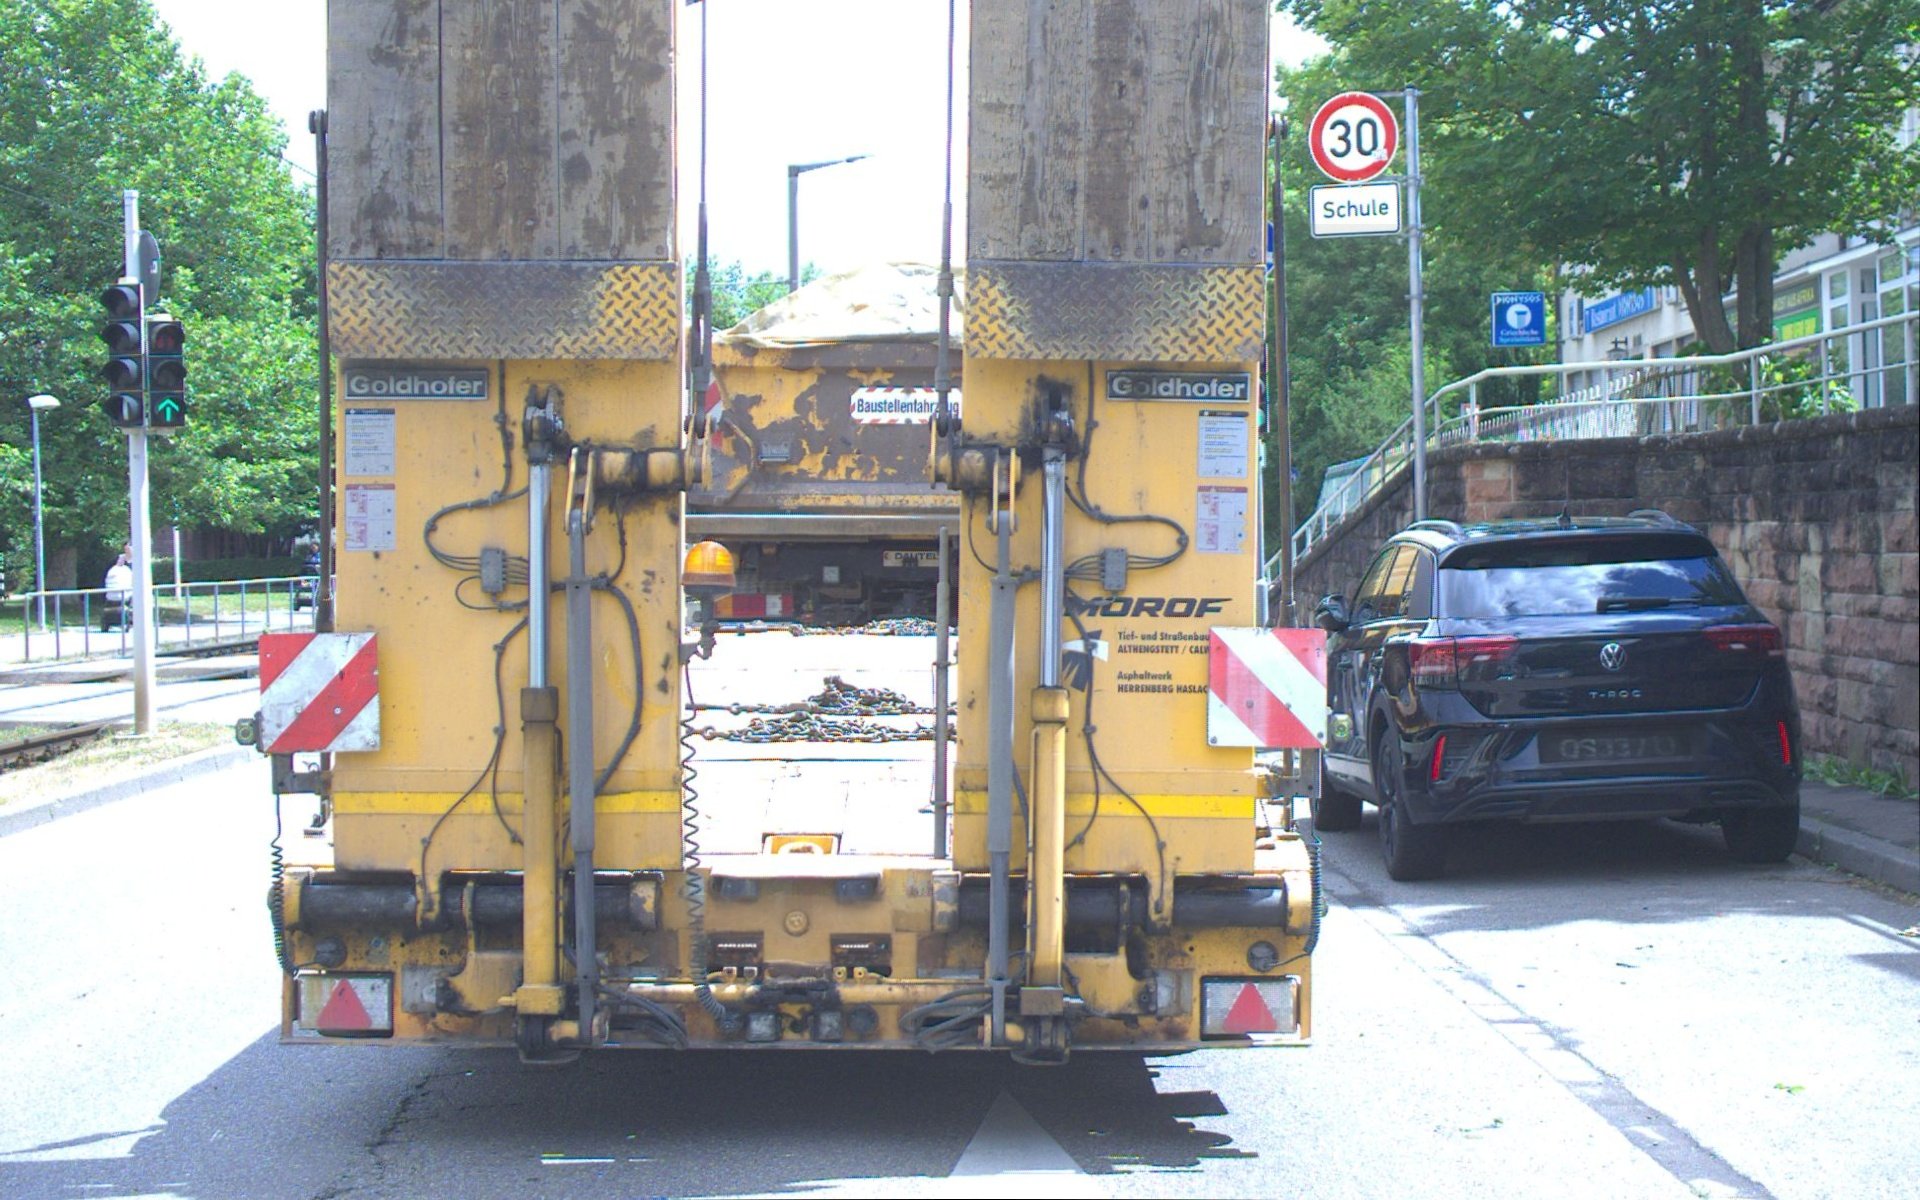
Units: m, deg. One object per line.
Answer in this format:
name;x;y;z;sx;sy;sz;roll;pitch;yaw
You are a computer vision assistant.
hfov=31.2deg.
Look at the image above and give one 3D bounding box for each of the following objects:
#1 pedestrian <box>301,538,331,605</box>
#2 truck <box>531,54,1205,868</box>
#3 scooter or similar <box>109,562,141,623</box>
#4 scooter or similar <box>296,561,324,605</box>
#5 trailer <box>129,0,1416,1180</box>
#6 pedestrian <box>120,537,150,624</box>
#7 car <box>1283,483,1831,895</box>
pedestrian;-14.645;-0.659;78.216;0.563;1.508;0.646;1;1;-1
truck;-0.394;-0.658;17.604;2.942;3.560;4.877;0;1;0
scooter or similar;-14.747;-0.133;60.697;0.338;1.054;0.687;-1;2;4
scooter or similar;-14.662;-0.384;77.565;0.505;0.968;0.646;1;1;-1
trailer;-0.414;-0.551;12.304;2.945;3.589;8.684;-1;1;0
pedestrian;-14.721;-0.354;61.337;0.348;1.531;0.557;-1;1;3
car;2.658;0.332;16.220;1.851;1.633;4.000;-2;1;0
